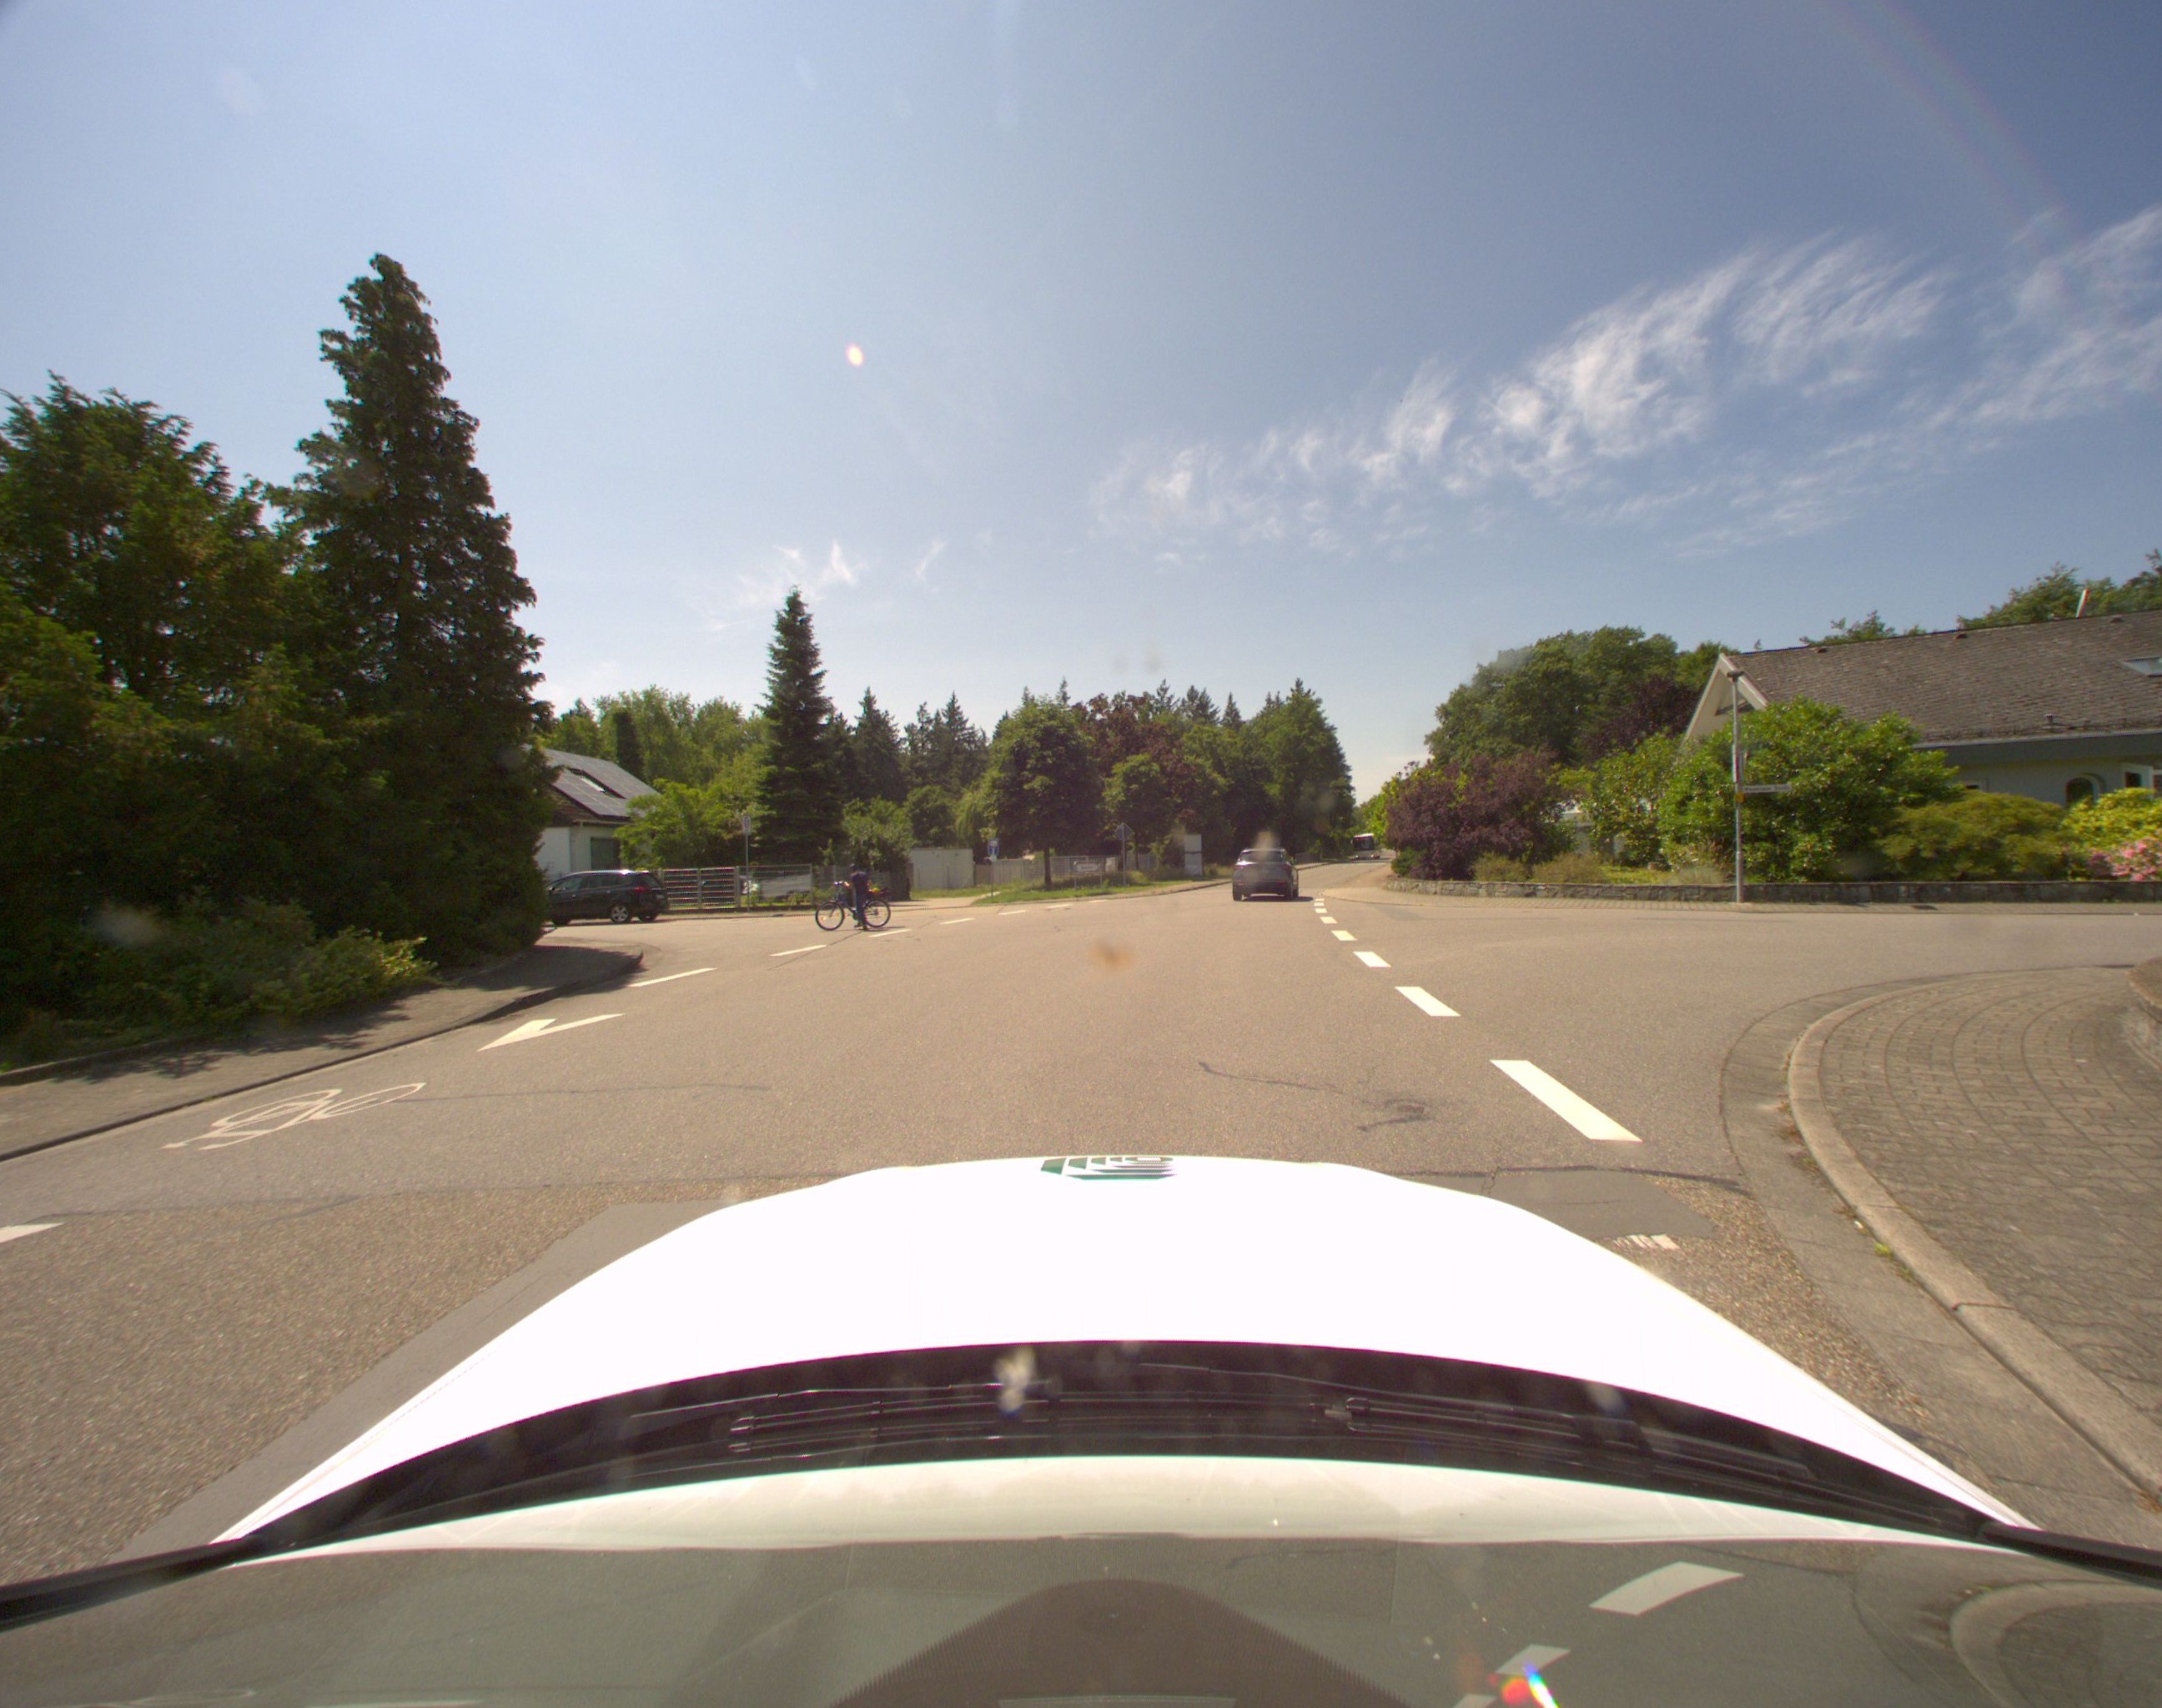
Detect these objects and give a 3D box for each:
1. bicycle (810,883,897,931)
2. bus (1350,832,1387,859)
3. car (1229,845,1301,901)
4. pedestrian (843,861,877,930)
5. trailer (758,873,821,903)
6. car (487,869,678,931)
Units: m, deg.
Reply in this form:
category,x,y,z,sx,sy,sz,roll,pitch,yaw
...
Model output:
category,x,y,z,sx,sy,sz,roll,pitch,yaw
bicycle,-5.214,1.206,18.717,1.853,0.964,0.439,-2,0,-28
bus,37.799,-1.155,106.782,3.152,3.244,12.786,-2,0,25
car,5.875,0.549,25.679,1.748,1.618,4.020,-1,0,19
pedestrian,-4.969,0.928,18.333,0.613,1.501,0.500,-2,-1,-26
trailer,-11.837,1.381,33.196,2.215,1.084,1.102,-2,0,-10
car,-15.439,1.386,25.445,4.654,1.662,1.968,-2,0,-2
